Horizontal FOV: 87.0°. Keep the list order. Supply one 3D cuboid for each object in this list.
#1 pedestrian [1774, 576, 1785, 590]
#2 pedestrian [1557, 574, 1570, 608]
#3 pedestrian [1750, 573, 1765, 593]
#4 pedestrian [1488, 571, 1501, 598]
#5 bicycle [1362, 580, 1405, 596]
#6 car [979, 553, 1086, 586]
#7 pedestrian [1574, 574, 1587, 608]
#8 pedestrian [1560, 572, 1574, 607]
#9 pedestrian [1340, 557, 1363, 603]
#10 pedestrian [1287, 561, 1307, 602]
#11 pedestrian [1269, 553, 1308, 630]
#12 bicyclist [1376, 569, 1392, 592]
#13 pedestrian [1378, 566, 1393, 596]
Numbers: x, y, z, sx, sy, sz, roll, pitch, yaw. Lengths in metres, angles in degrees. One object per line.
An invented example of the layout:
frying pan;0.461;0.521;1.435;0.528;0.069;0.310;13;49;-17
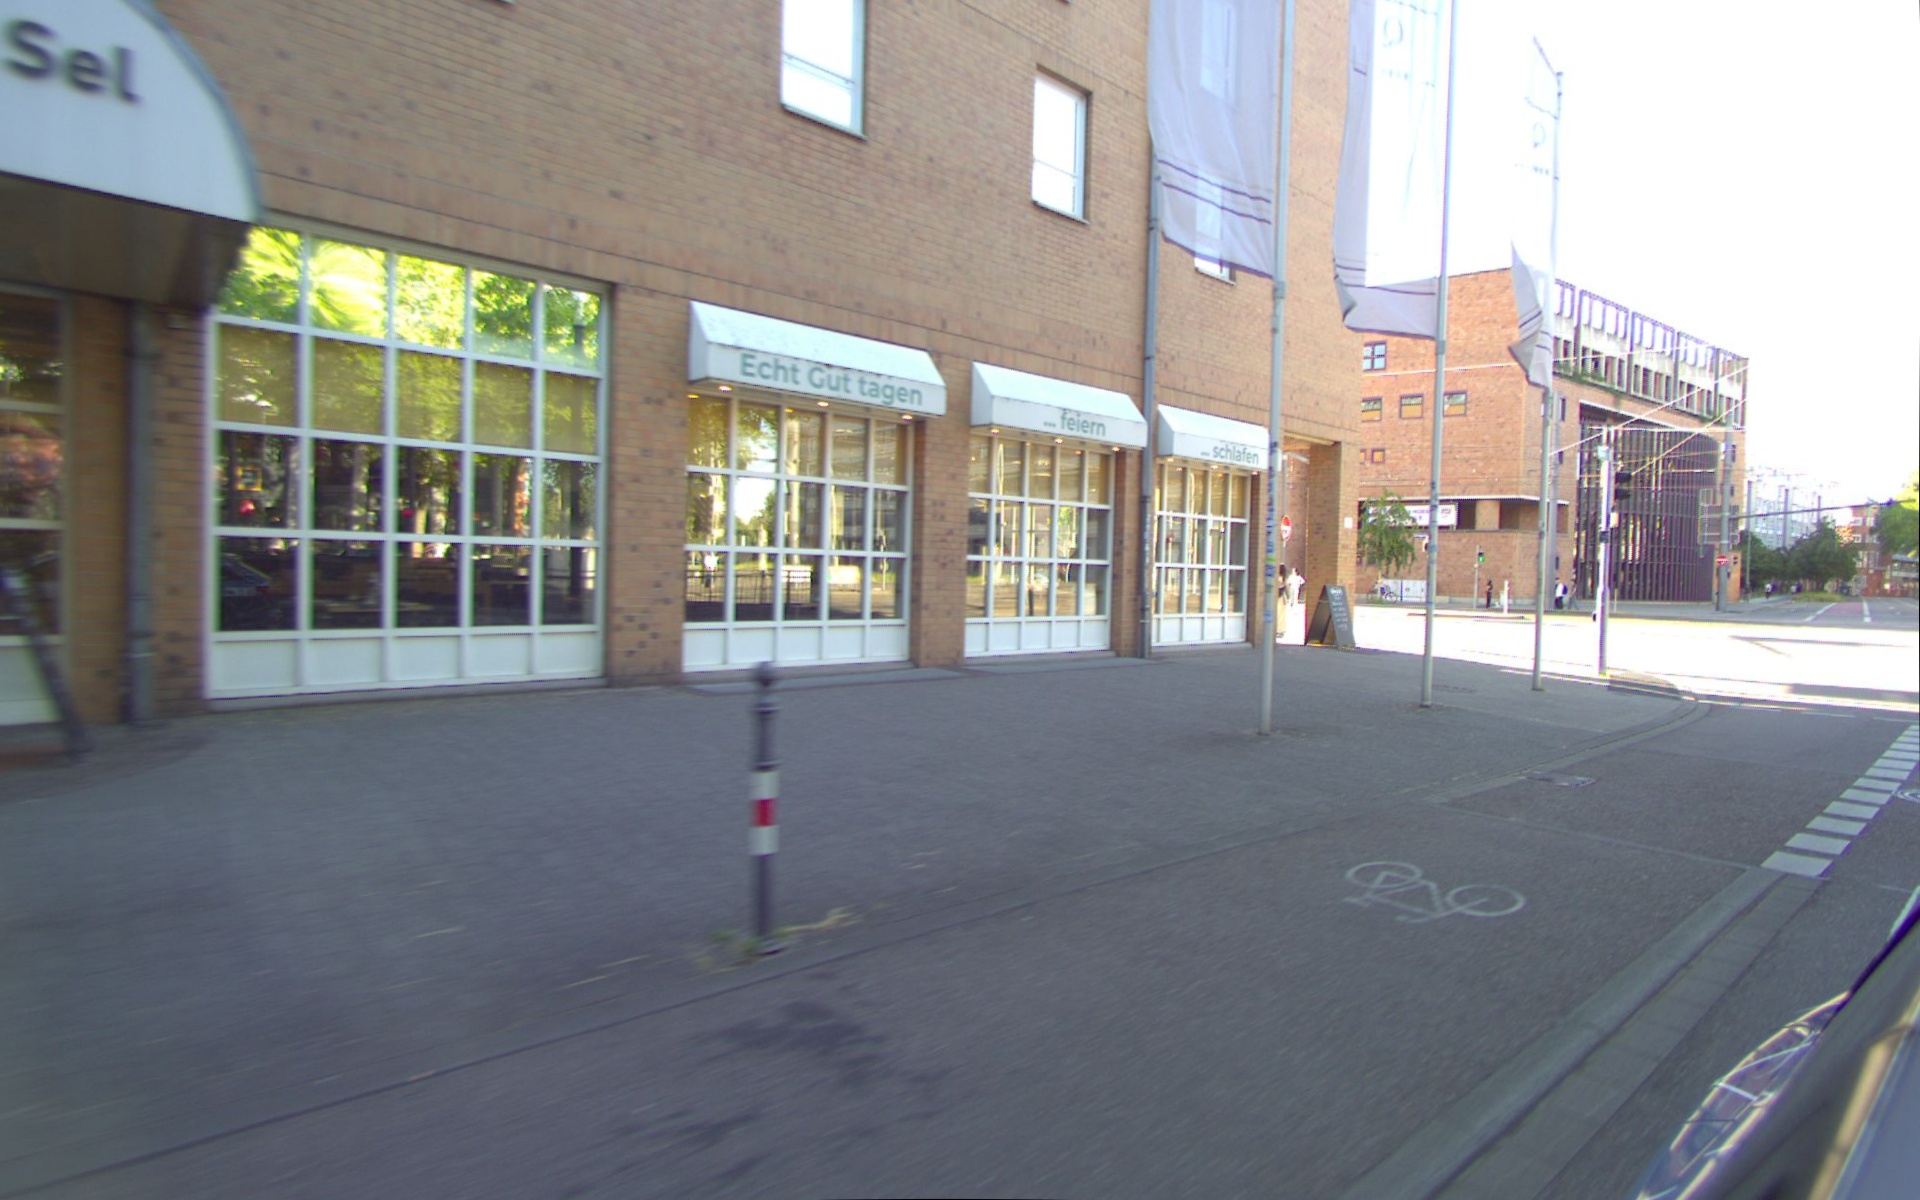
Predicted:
pedestrian;83.438;-1.722;103.025;0.810;1.401;0.676;3;3;44
pedestrian;32.747;-0.513;54.869;0.545;1.808;0.567;2;3;33
pedestrian;65.501;-1.370;83.131;0.805;1.625;0.680;2;2;29
pedestrian;29.889;-0.863;56.576;0.567;1.495;0.545;2;2;24
bicycle;25.751;-0.752;61.518;2.338;0.915;0.640;3;3;43
car;3.014;-1.313;42.477;4.210;1.283;1.819;3;4;40
pedestrian;33.205;-0.486;54.189;0.545;1.808;0.567;2;3;33
pedestrian;31.843;-0.545;53.100;0.545;1.808;0.567;2;3;33
pedestrian;15.145;-0.791;39.144;0.592;1.748;0.712;2;3;42
pedestrian;13.293;-0.752;39.940;0.641;1.596;0.577;2;2;28
pedestrian;7.373;-0.198;22.756;0.730;1.686;0.750;2;2;14
bicyclist;25.763;-1.201;61.499;0.650;1.356;0.638;2;2;43
pedestrian;26.372;-1.195;62.726;0.572;1.807;0.540;6;5;44
